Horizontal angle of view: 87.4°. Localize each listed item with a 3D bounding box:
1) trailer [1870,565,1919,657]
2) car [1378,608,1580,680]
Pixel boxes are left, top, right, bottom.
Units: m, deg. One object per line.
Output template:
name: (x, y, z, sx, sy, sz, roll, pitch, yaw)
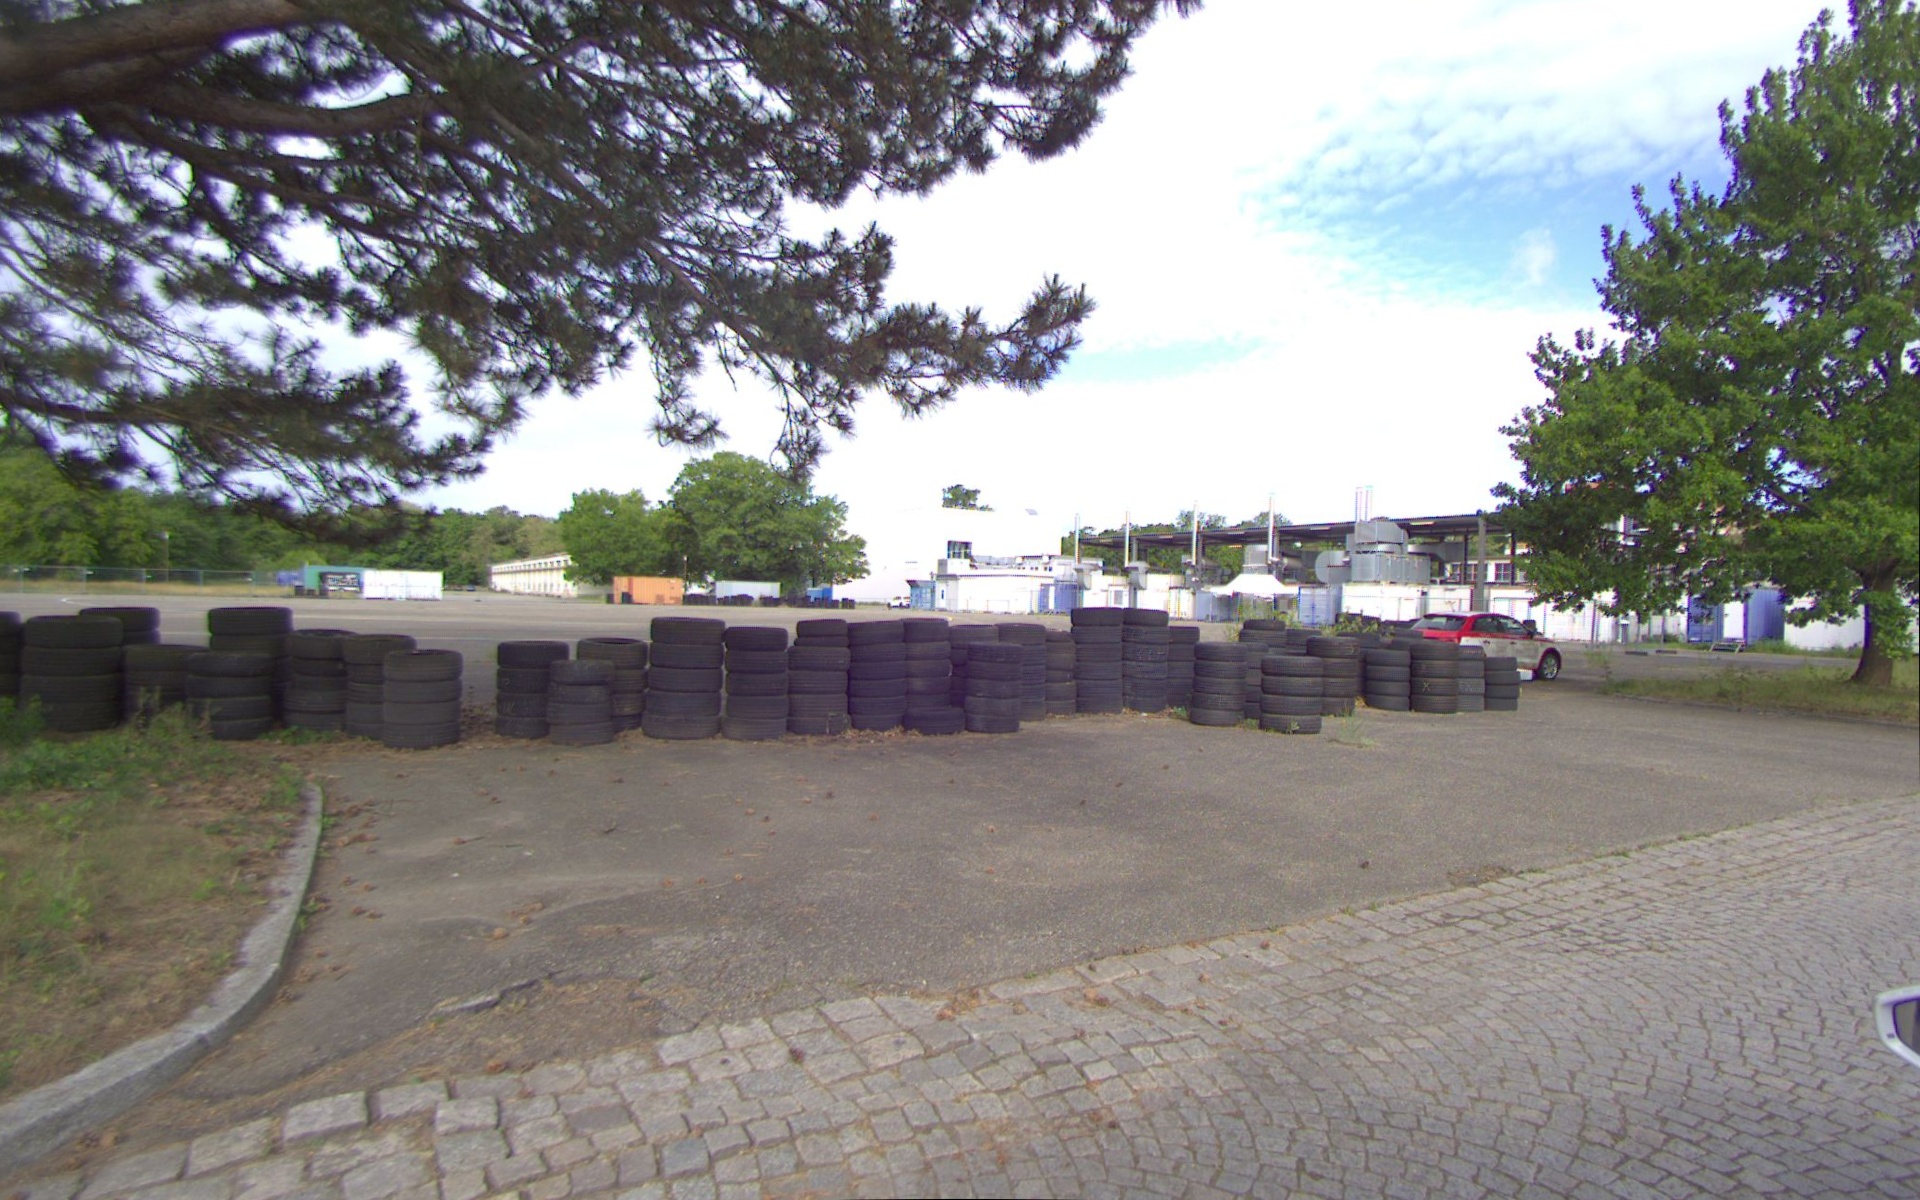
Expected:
trailer: (43.448, 0.568, 43.531, 10.590, 3.755, 2.645, 2, 0, -29)
car: (11.541, 0.961, 22.319, 4.162, 1.451, 1.818, 2, 0, -25)
